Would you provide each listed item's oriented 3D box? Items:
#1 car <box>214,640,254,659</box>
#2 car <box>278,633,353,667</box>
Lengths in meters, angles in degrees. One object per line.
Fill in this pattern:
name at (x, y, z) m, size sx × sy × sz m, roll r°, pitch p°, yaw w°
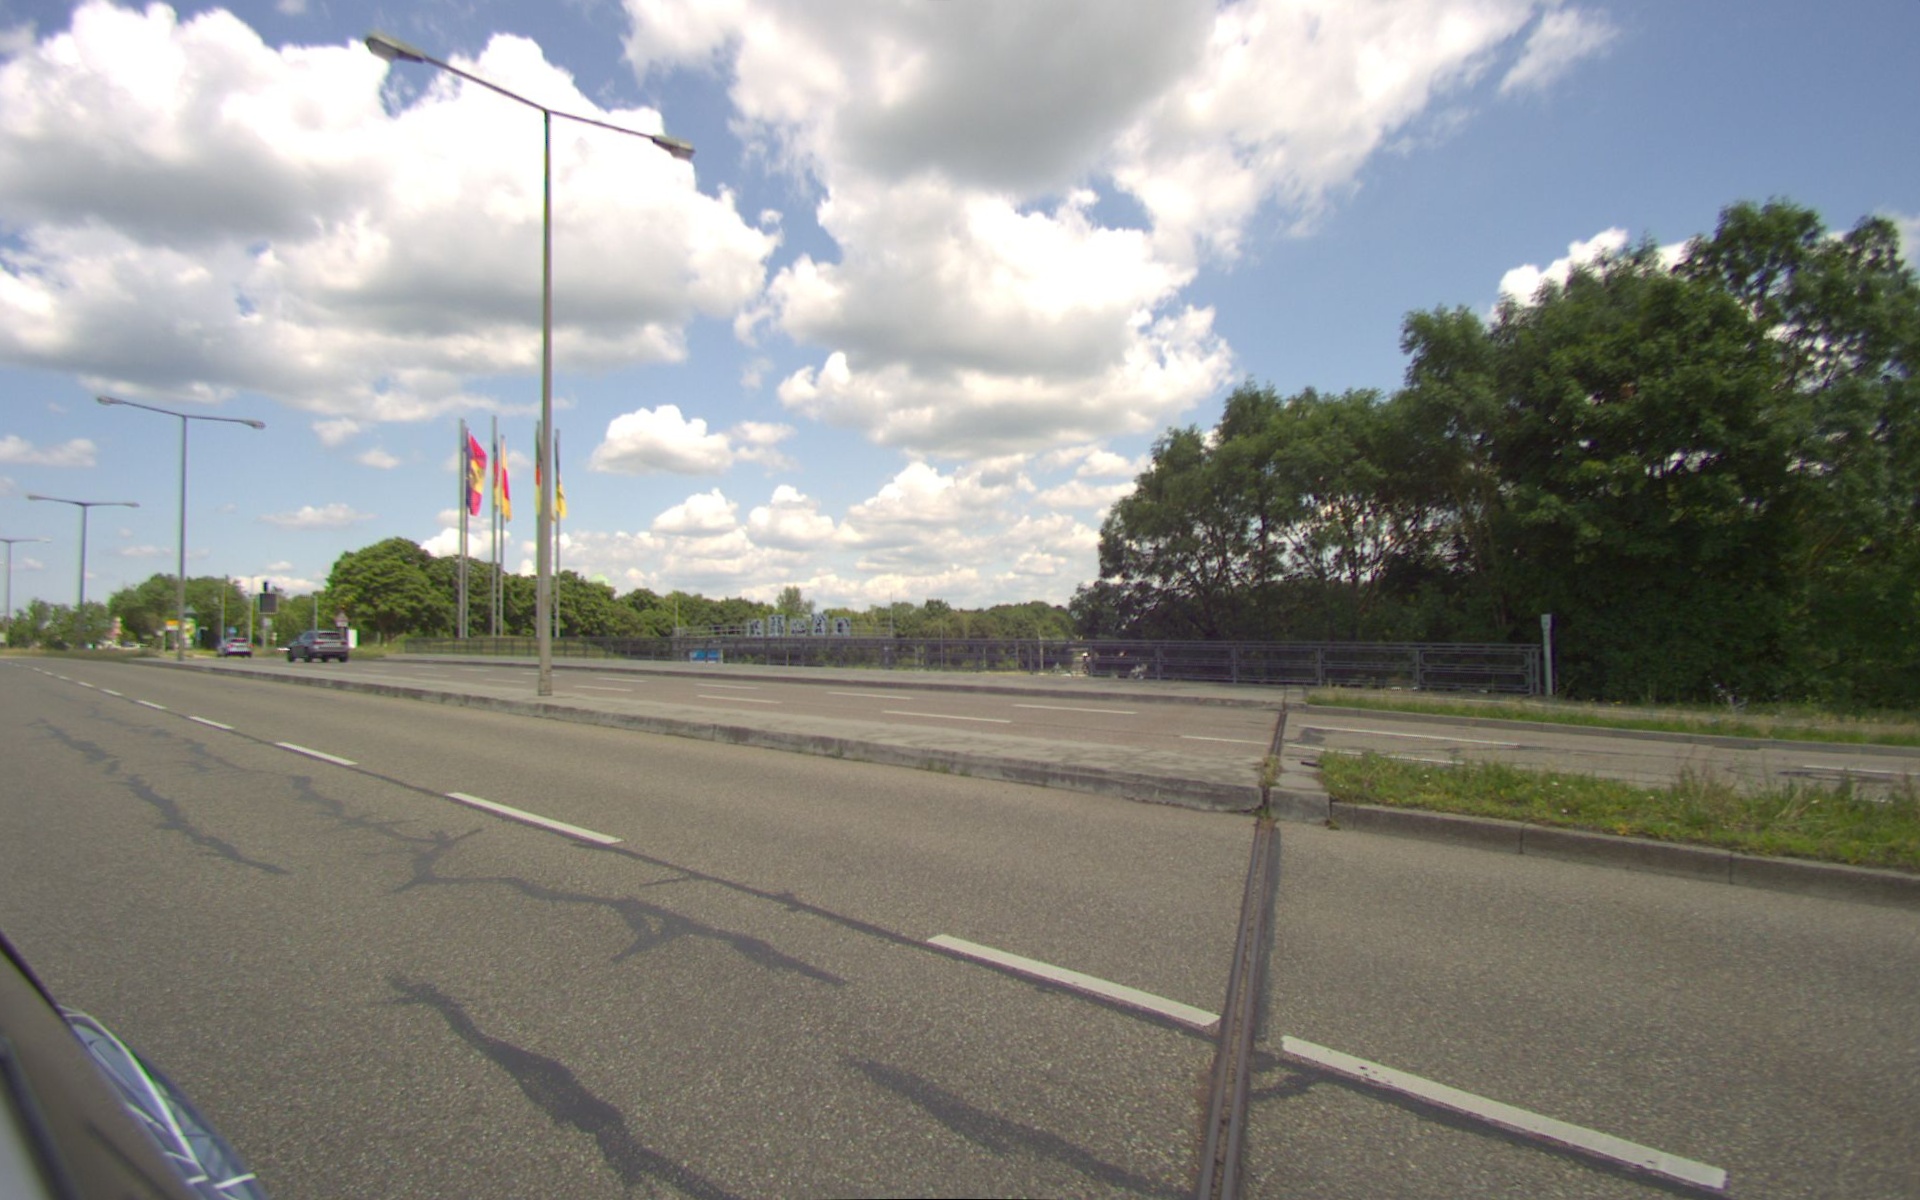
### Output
car at (-54.774, 3.752, 76.317) m, size 1.644 × 1.424 × 4.552 m, roll 5°, pitch -6°, yaw -45°
car at (-34.131, 2.692, 53.592) m, size 4.547 × 1.639 × 2.066 m, roll -3°, pitch -7°, yaw 41°
